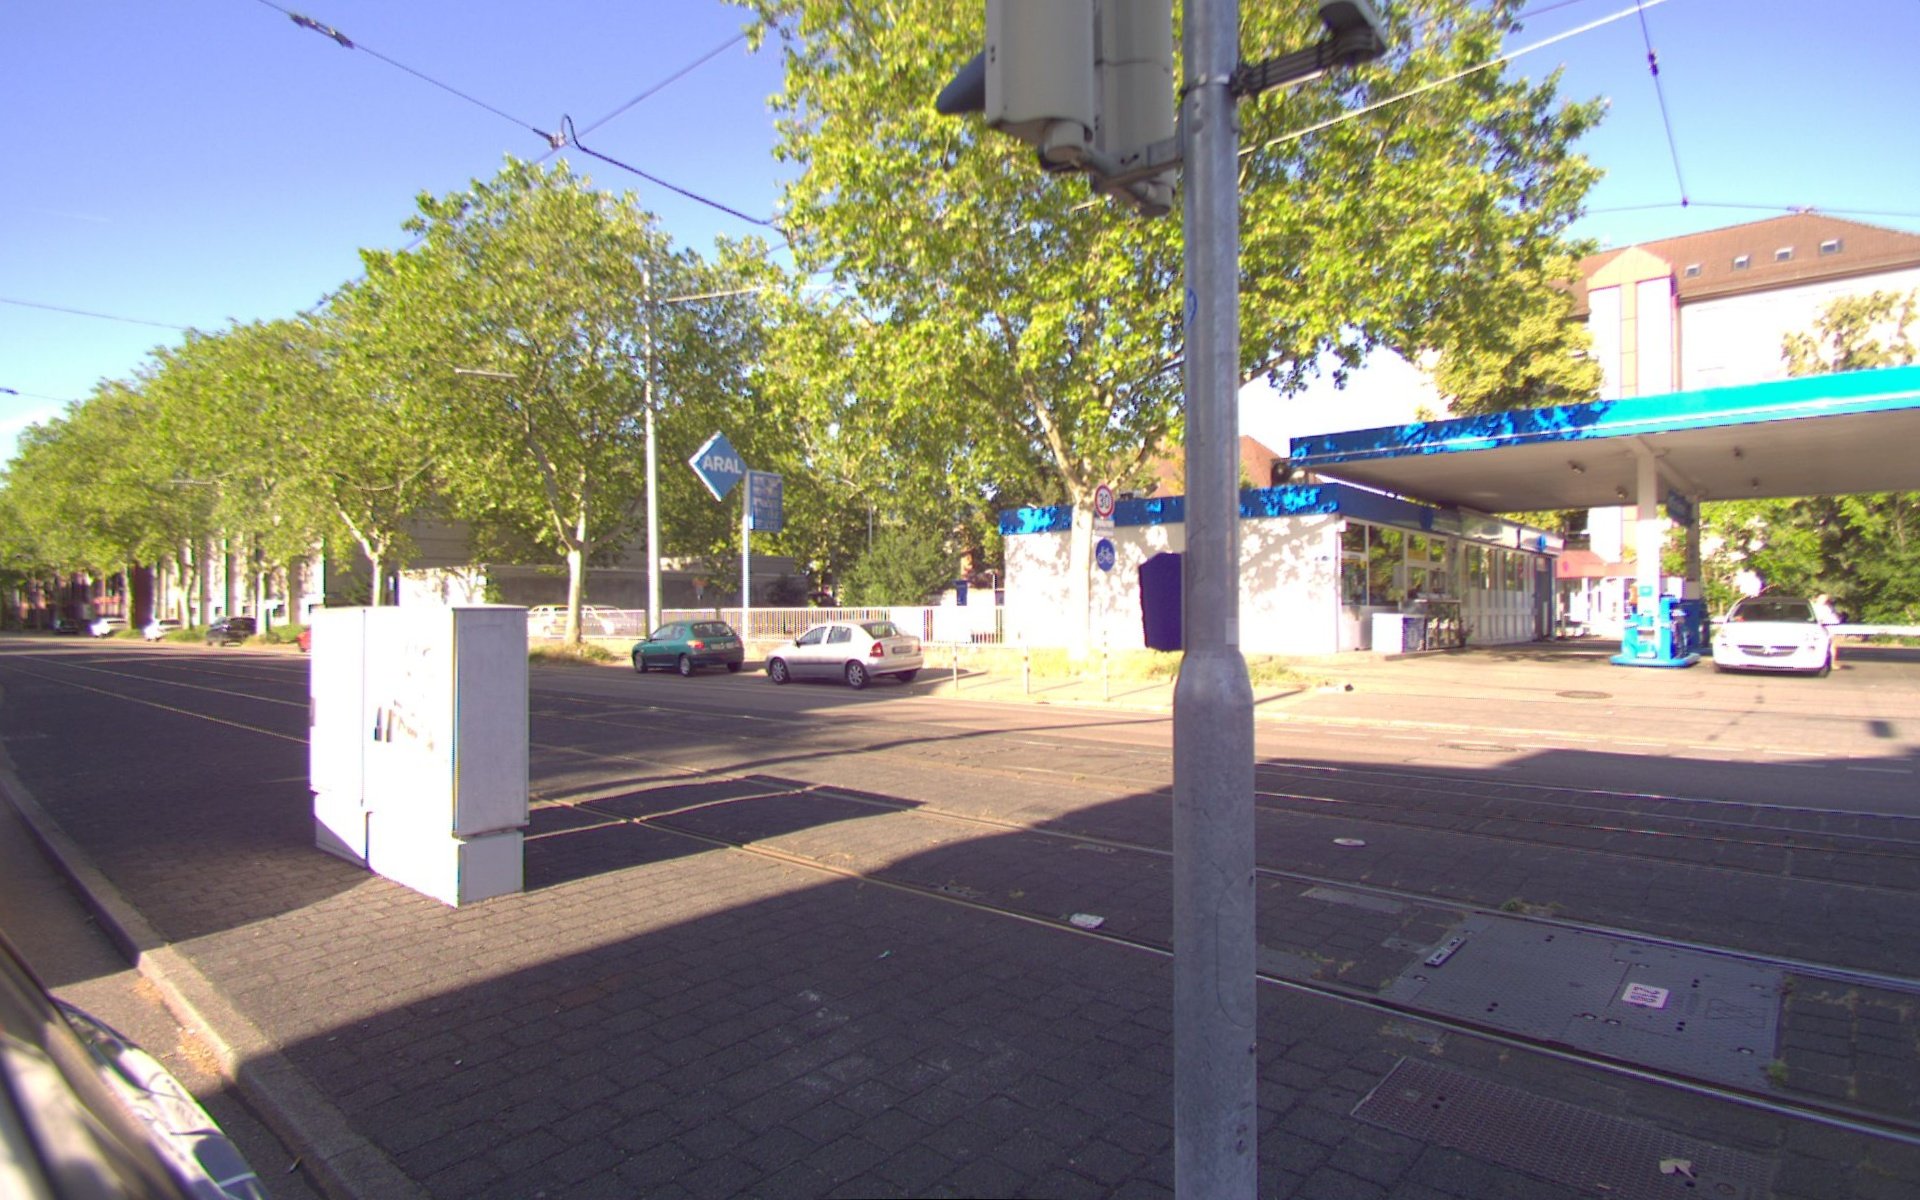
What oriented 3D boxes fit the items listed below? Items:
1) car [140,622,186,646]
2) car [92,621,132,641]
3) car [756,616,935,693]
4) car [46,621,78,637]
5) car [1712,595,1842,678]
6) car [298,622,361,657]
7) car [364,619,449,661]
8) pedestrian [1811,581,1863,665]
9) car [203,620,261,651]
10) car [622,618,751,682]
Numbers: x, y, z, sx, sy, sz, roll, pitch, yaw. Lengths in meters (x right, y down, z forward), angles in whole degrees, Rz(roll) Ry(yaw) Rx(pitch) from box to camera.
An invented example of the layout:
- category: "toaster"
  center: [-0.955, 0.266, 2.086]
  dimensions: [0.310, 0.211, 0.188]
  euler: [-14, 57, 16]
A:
- category: "car"
  center: [-53.711, 2.272, 68.174]
  dimensions: [3.998, 1.509, 1.779]
  euler: [-1, -1, 41]
- category: "car"
  center: [-66.674, 2.409, 79.541]
  dimensions: [3.998, 1.525, 1.779]
  euler: [-1, -1, 41]
- category: "car"
  center: [-2.624, 1.161, 22.669]
  dimensions: [3.965, 1.475, 1.771]
  euler: [-1, 2, 43]
- category: "car"
  center: [-85.312, 2.740, 96.130]
  dimensions: [3.998, 1.525, 1.779]
  euler: [-1, -1, 41]
- category: "car"
  center: [16.033, 0.677, 19.913]
  dimensions: [1.812, 1.453, 3.947]
  euler: [-1, -1, 39]
- category: "car"
  center: [-28.548, 1.755, 45.808]
  dimensions: [3.045, 1.519, 1.620]
  euler: [-1, -1, 41]
- category: "car"
  center: [-21.934, 1.554, 40.059]
  dimensions: [3.652, 1.541, 1.802]
  euler: [-1, -1, 41]
- category: "pedestrian"
  center: [18.151, 0.475, 20.945]
  dimensions: [0.761, 1.705, 0.578]
  euler: [-2, -2, 44]
- category: "car"
  center: [-40.746, 1.958, 56.600]
  dimensions: [3.998, 1.674, 1.779]
  euler: [-1, -1, 41]
- category: "car"
  center: [-7.322, 1.279, 26.939]
  dimensions: [3.519, 1.475, 1.670]
  euler: [-1, 2, 43]
